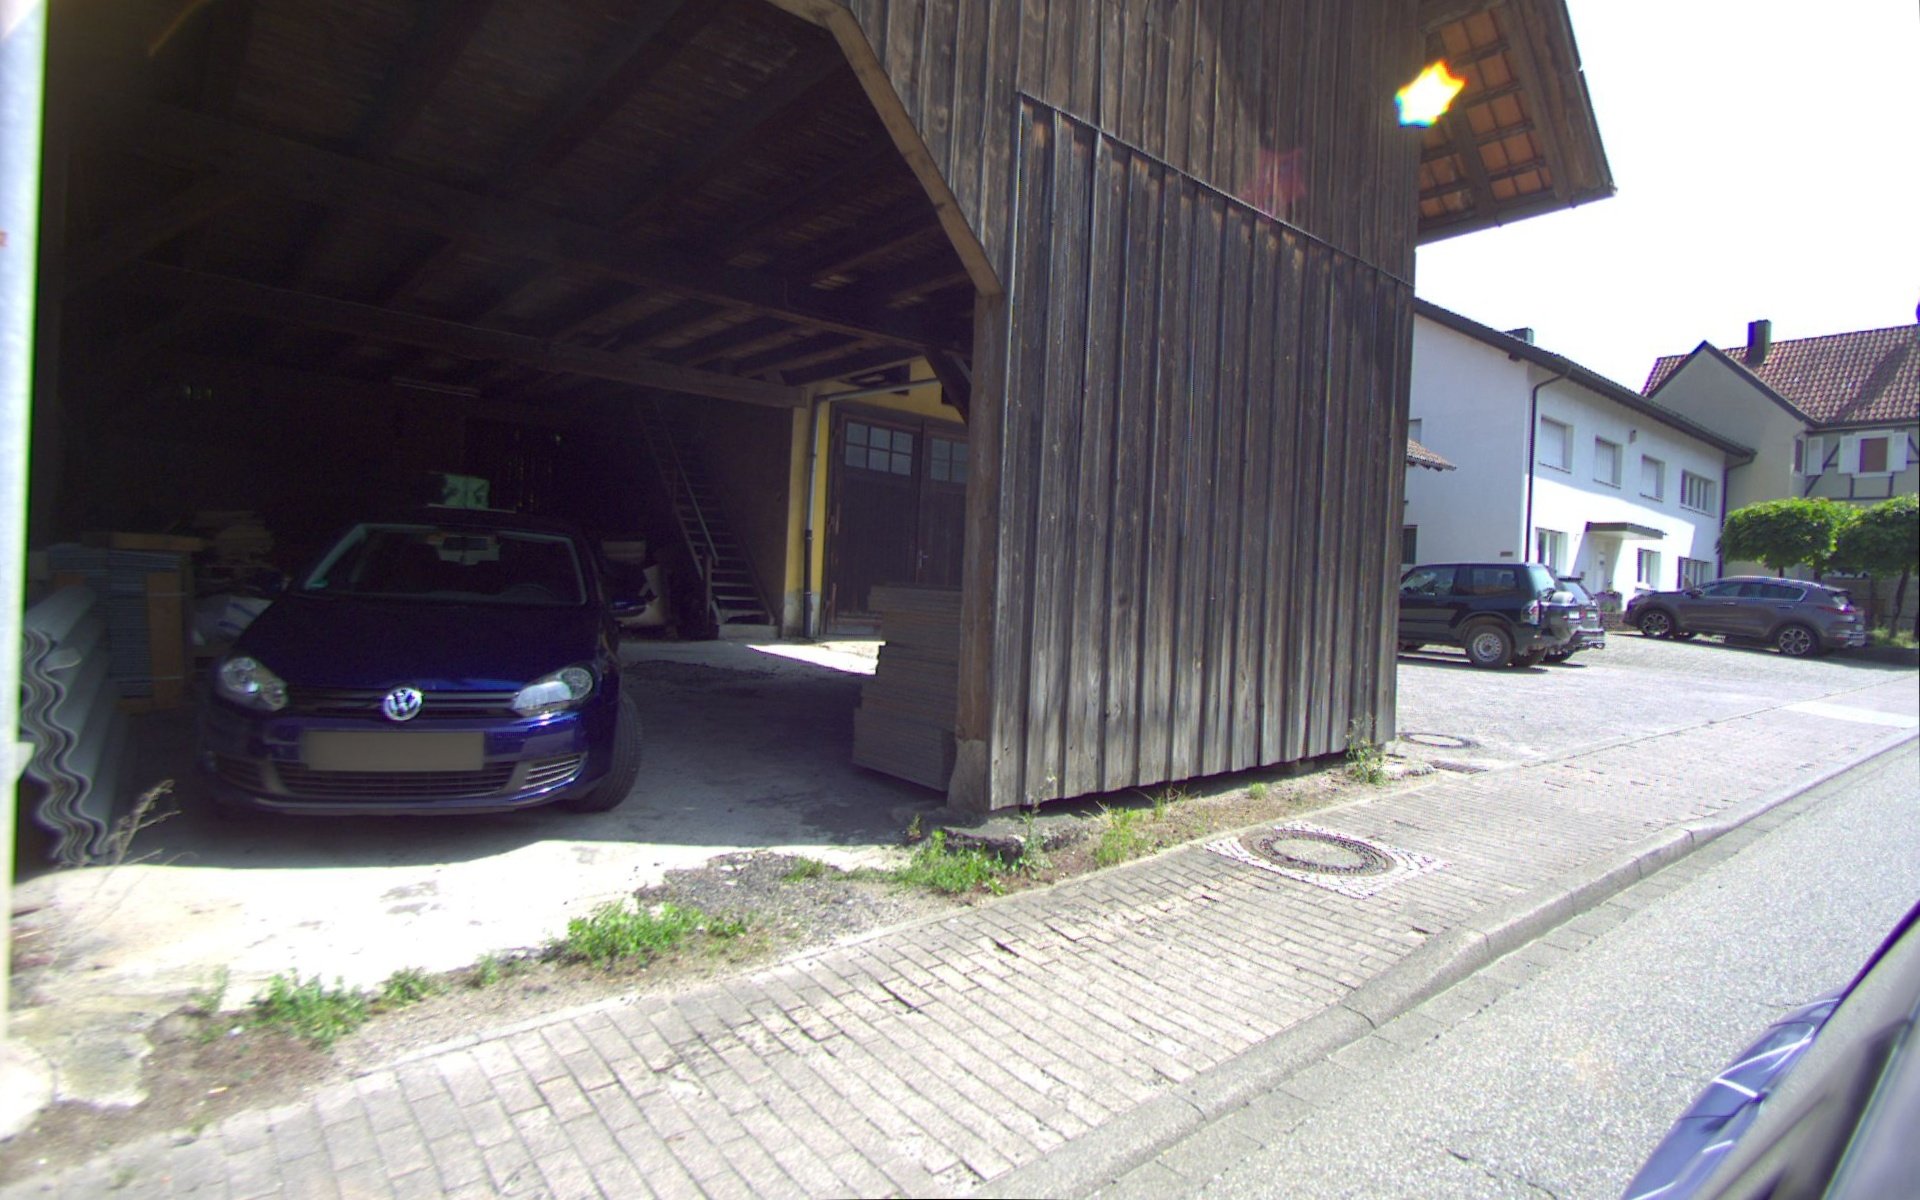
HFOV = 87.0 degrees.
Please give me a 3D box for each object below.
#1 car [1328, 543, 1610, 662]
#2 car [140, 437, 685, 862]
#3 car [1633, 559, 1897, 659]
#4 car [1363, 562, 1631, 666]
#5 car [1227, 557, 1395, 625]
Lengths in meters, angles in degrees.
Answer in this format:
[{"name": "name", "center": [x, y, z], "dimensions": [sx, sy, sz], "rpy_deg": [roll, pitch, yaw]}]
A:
[{"name": "car", "center": [9.162, -0.041, 18.484], "dimensions": [1.920, 1.855, 4.134], "rpy_deg": [0, 3, -42]}, {"name": "car", "center": [-2.822, 0.113, 5.827], "dimensions": [1.831, 1.526, 4.010], "rpy_deg": [3, 2, -22]}, {"name": "car", "center": [18.150, 0.124, 23.022], "dimensions": [1.743, 1.706, 4.240], "rpy_deg": [1, 6, -35]}, {"name": "car", "center": [10.873, 0.193, 20.769], "dimensions": [1.918, 1.781, 4.429], "rpy_deg": [0, 3, -41]}, {"name": "car", "center": [9.683, -0.294, 28.159], "dimensions": [1.838, 1.664, 3.996], "rpy_deg": [0, 3, -41]}]
